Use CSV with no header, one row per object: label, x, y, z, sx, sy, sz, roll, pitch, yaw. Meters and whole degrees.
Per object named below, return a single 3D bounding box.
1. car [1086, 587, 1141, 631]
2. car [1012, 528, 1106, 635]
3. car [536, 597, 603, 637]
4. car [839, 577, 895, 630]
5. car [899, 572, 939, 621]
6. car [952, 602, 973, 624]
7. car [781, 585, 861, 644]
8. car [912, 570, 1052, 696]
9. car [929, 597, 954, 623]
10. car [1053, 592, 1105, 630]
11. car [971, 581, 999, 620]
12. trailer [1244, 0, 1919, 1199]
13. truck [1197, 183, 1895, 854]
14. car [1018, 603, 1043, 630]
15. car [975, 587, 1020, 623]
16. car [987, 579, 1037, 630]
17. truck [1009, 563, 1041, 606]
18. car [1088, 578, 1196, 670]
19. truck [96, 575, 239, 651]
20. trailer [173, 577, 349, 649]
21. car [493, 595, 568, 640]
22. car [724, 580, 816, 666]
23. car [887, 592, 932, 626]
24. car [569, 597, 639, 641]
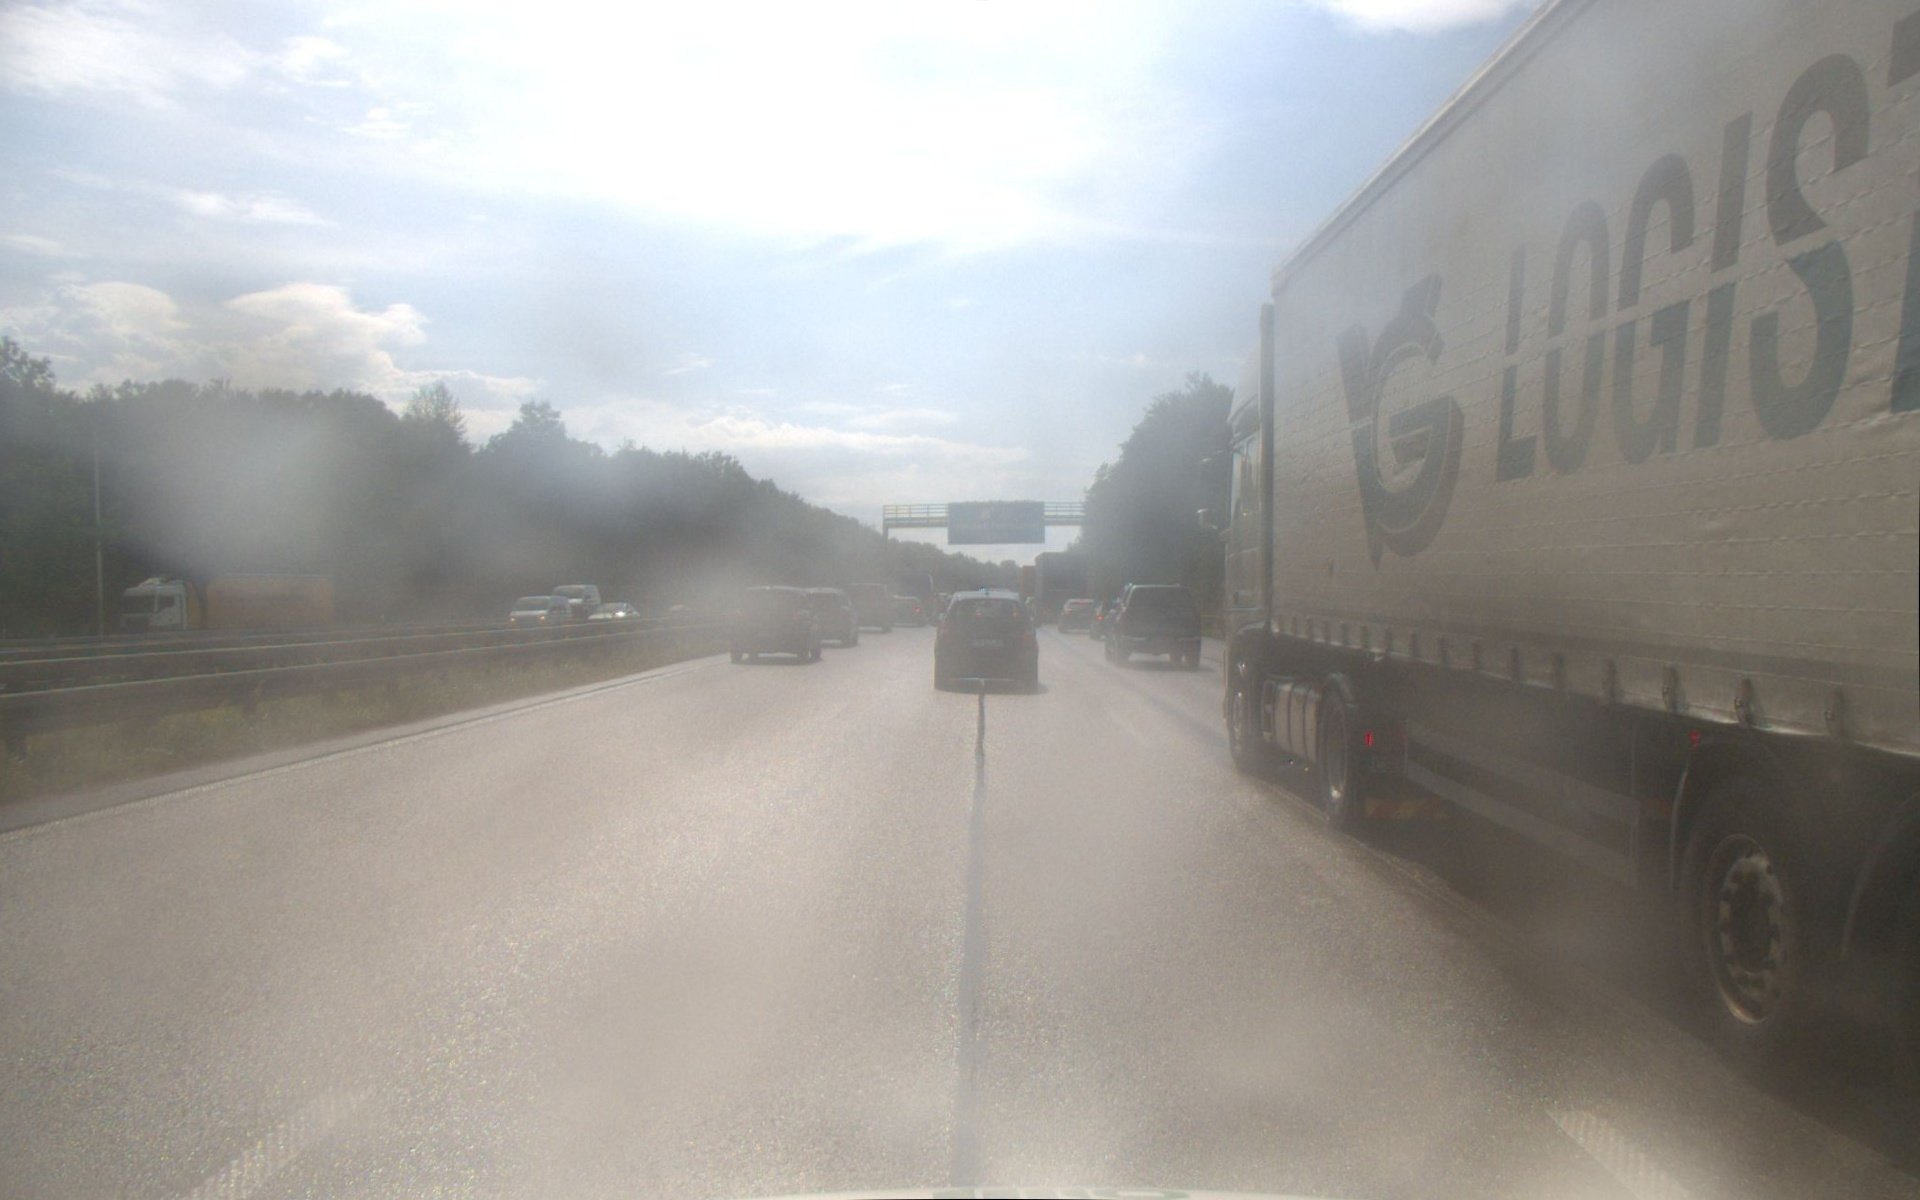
car,5.553,0.323,60.090,1.558,1.542,3.975,1,0,-1
car,5.840,-0.984,101.267,4.314,5.932,16.813,1,0,-1
car,-19.330,0.835,82.133,2.004,1.924,5.259,1,0,0
car,-3.822,0.160,68.787,1.937,2.090,4.757,1,0,1
car,-2.266,-0.188,93.215,1.952,2.661,5.260,1,0,1
car,0.280,1.354,171.735,1.952,2.152,4.889,1,0,1
car,-4.119,0.428,49.531,1.869,1.665,4.617,-1,0,1
car,0.333,0.543,29.041,2.228,1.989,4.820,1,0,-1
car,-1.577,0.843,143.480,1.952,2.152,4.889,1,0,1
car,5.049,0.467,70.609,1.827,1.542,3.975,1,0,-1
car,1.854,0.046,120.368,1.952,2.794,5.260,1,0,1
trailer,3.941,-0.491,6.589,3.216,3.967,14.128,1,0,0
truck,3.981,-0.492,13.130,3.217,3.959,6.396,1,0,0
car,5.710,1.337,134.154,1.952,2.152,4.889,1,0,1
car,1.673,0.215,74.240,1.827,1.542,3.975,1,0,-1
car,1.929,0.173,62.253,1.658,1.836,3.975,1,0,-1
truck,5.744,-1.380,147.654,2.718,3.695,5.917,1,0,1
car,4.143,0.541,38.491,1.902,1.952,5.652,1,0,0
truck,-45.368,0.747,94.964,3.707,4.189,7.051,1,0,14
trailer,-43.309,0.831,103.148,3.707,4.189,11.734,1,0,14
car,-19.616,0.791,75.739,2.004,1.924,5.259,1,0,0
car,-4.279,0.514,37.726,1.658,1.836,3.975,1,0,-1
car,-2.444,0.444,81.282,1.952,1.592,4.757,1,0,1
car,-16.188,0.844,75.475,2.004,1.924,5.259,1,0,0
